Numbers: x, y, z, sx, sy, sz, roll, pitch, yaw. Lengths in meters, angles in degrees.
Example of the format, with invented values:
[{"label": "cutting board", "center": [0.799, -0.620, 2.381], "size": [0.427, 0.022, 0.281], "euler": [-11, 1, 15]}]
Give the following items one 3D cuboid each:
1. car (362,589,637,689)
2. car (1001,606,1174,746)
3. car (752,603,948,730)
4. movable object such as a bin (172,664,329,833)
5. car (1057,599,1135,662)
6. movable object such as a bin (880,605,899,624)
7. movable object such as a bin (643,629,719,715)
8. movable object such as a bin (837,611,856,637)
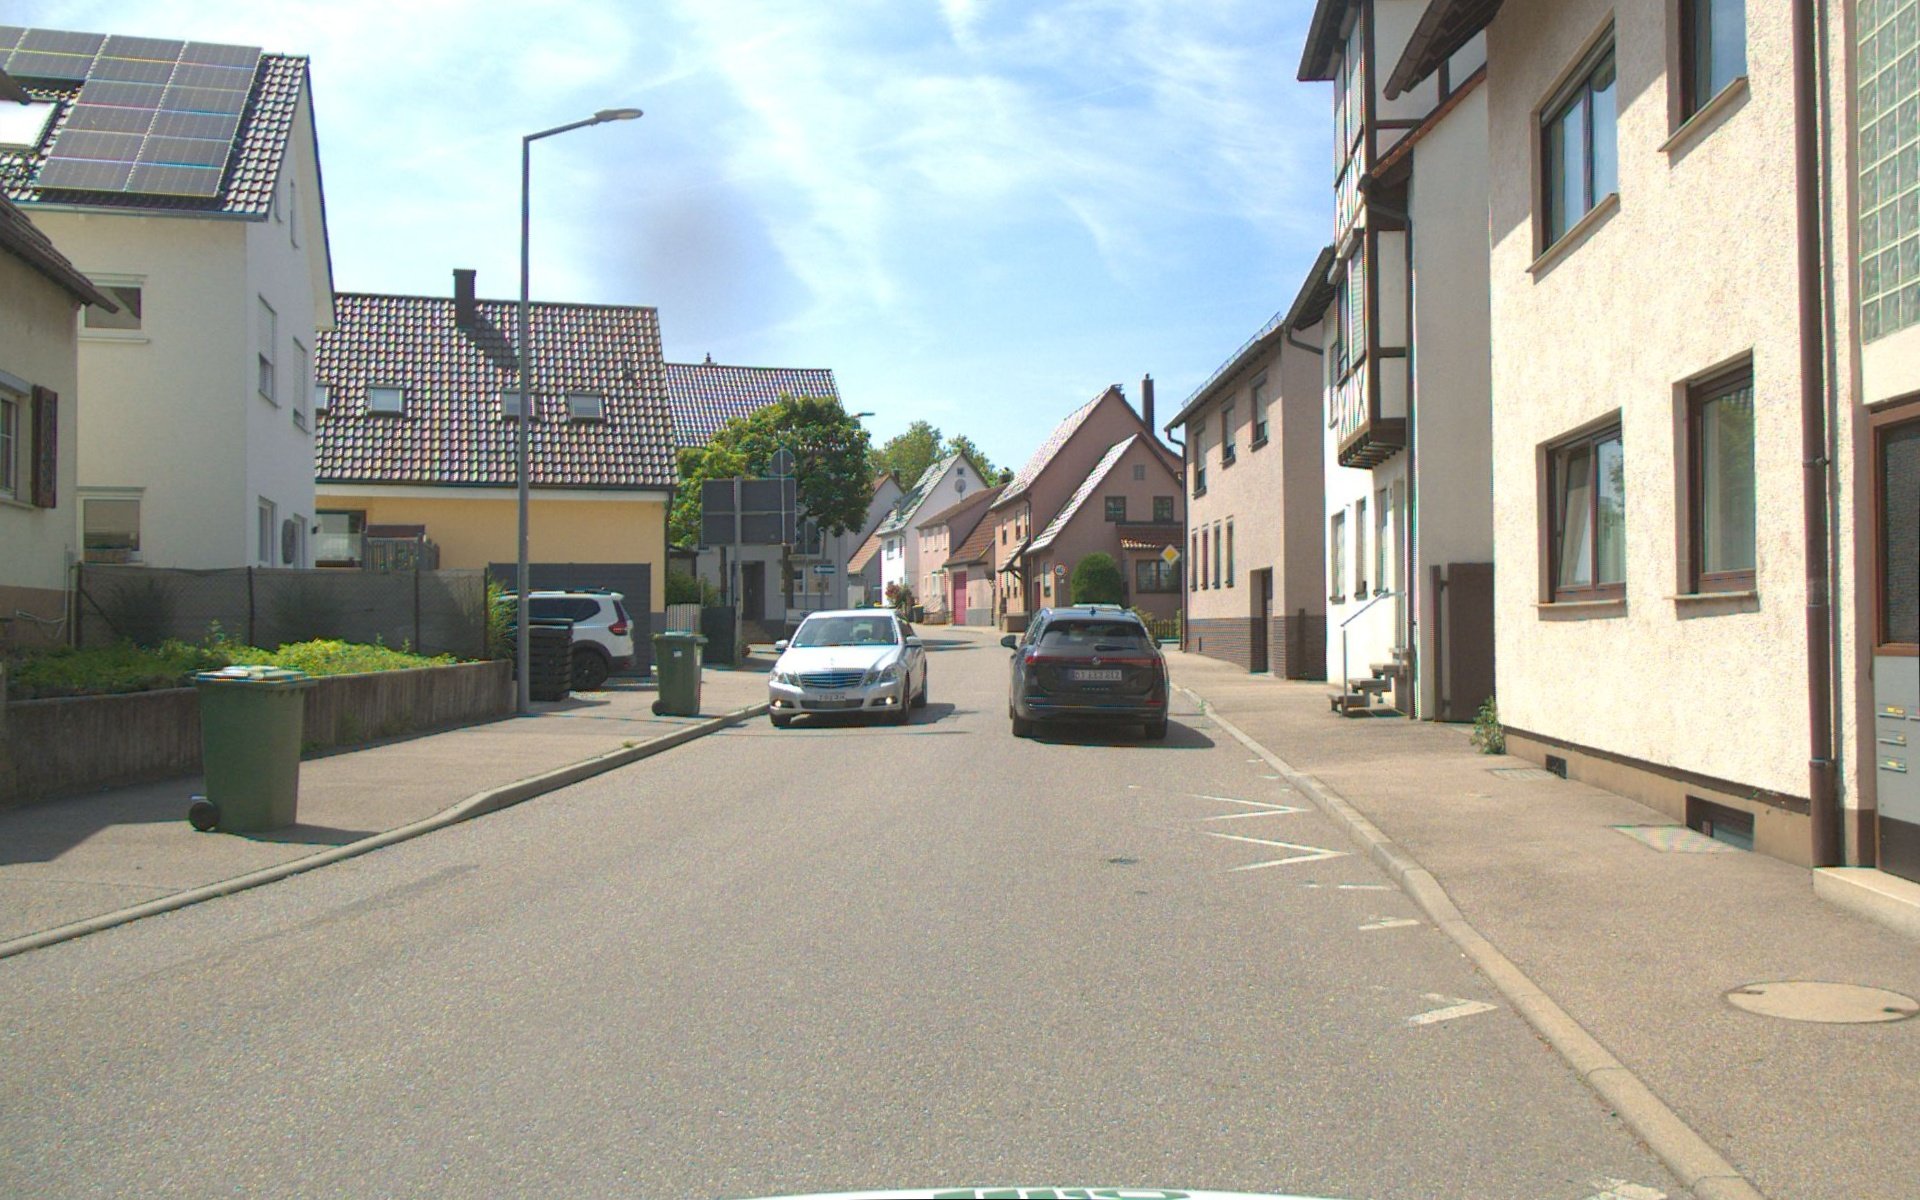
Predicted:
[{"label": "car", "center": [-7.796, 0.648, 28.402], "size": [4.320, 1.651, 1.996], "euler": [0, -1, -9]}, {"label": "car", "center": [1.651, 0.815, 19.954], "size": [1.802, 1.445, 4.686], "euler": [0, 0, 8]}, {"label": "car", "center": [-1.395, 0.843, 22.869], "size": [1.914, 1.512, 4.462], "euler": [-2, 0, 6]}, {"label": "movable object such as a bin", "center": [-4.801, 0.991, 11.225], "size": [0.775, 1.076, 0.651], "euler": [0, 0, 0]}, {"label": "car", "center": [3.337, 0.714, 41.236], "size": [1.748, 1.467, 4.338], "euler": [1, 0, 2]}, {"label": "movable object such as a bin", "center": [-4.310, 0.898, 101.149], "size": [0.863, 1.093, 0.868], "euler": [-5, 1, -20]}, {"label": "movable object such as a bin", "center": [-3.709, 0.953, 22.042], "size": [0.808, 1.096, 0.818], "euler": [0, 0, 4]}, {"label": "movable object such as a bin", "center": [-4.679, 0.995, 68.322], "size": [0.740, 1.079, 0.678], "euler": [0, 0, -9]}]
